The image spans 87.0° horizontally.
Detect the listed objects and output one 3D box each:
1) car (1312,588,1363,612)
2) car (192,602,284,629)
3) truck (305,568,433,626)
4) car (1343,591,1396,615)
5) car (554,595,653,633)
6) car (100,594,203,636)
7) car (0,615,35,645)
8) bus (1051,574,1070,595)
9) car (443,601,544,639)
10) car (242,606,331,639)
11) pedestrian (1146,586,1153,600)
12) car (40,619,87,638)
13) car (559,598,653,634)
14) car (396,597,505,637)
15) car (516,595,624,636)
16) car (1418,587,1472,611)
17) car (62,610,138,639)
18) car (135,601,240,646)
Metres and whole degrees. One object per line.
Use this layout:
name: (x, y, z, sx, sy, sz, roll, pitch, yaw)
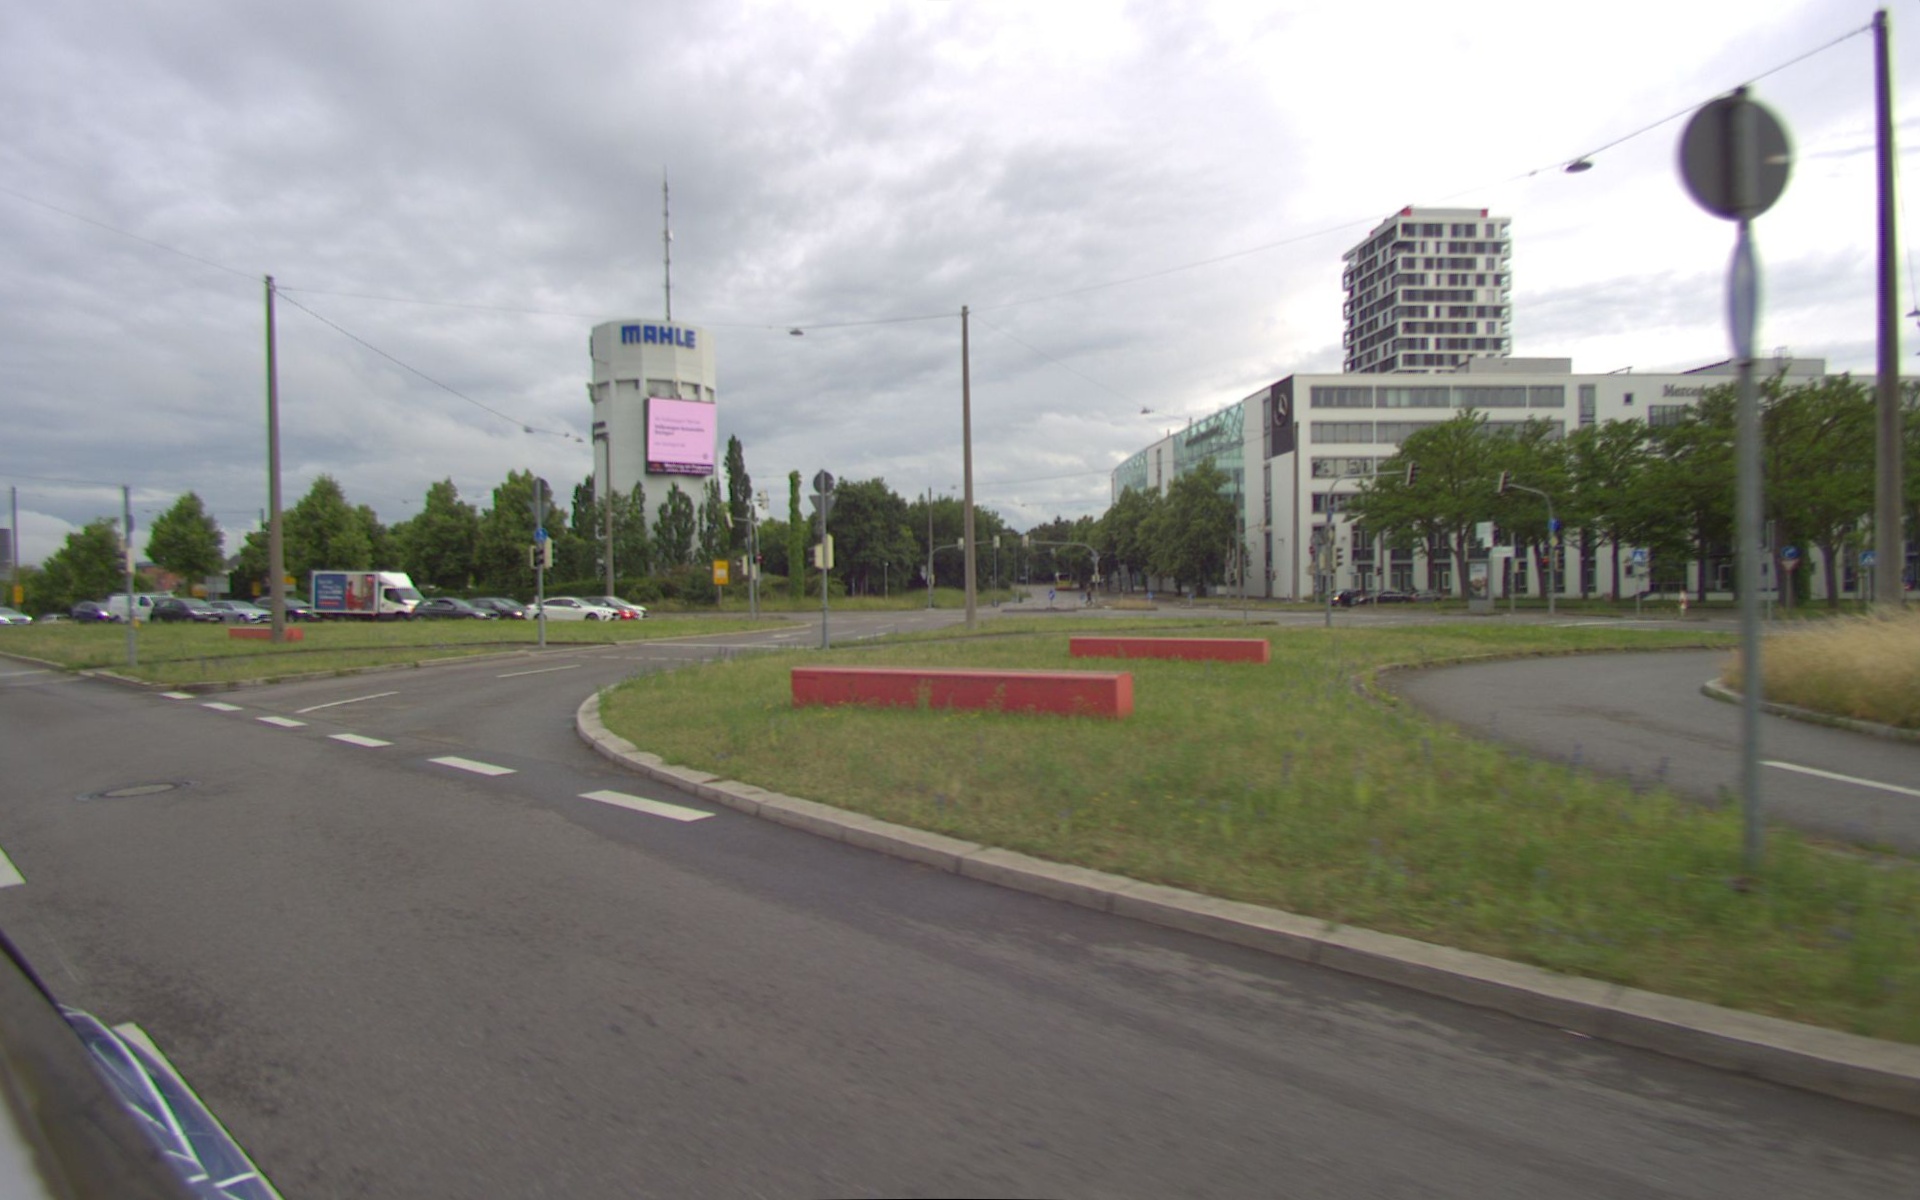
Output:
car: (30.815, -0.044, 82.648, 3.650, 1.688, 1.906, -4, 3, -27)
car: (-41.162, 0.881, 57.721, 4.493, 1.320, 1.989, -2, 2, 18)
truck: (-32.256, -0.188, 55.309, 5.964, 2.855, 2.125, -2, 2, 10)
car: (32.172, 0.219, 79.426, 3.650, 1.688, 1.906, -4, 3, -27)
car: (-18.871, 0.738, 53.709, 4.459, 1.695, 2.000, -3, 2, 1)
car: (-48.041, 0.909, 60.171, 5.270, 2.197, 2.359, -2, 2, 21)
car: (-62.652, 1.981, 65.802, 5.143, 1.814, 1.983, -2, 2, 27)
bus: (18.441, -2.895, 186.709, 2.821, 3.351, 8.885, -3, 2, 2)
car: (-24.872, 1.045, 54.015, 4.469, 1.695, 1.995, -2, 2, 9)
car: (-40.244, 1.330, 60.495, 4.483, 1.695, 1.989, -2, 2, 18)
pedestrian: (28.416, -1.121, 151.795, 1.025, 2.028, 0.835, -2, 2, 11)
car: (-96.973, 3.079, 109.460, 3.968, 1.796, 1.988, -2, 2, 19)
car: (-19.845, 0.888, 56.862, 4.460, 1.695, 1.999, -3, 2, 2)
car: (-25.158, 0.829, 50.041, 4.473, 1.695, 1.993, -2, 2, 12)
car: (-19.190, 0.739, 49.913, 4.464, 1.695, 1.998, -3, 2, 5)
car: (39.265, -0.070, 81.898, 3.650, 1.688, 1.906, -4, 2, -21)
car: (-57.281, 1.632, 67.397, 4.490, 1.695, 1.986, -2, 2, 22)
car: (-41.392, 1.258, 54.223, 5.133, 2.197, 1.987, -2, 2, 21)
